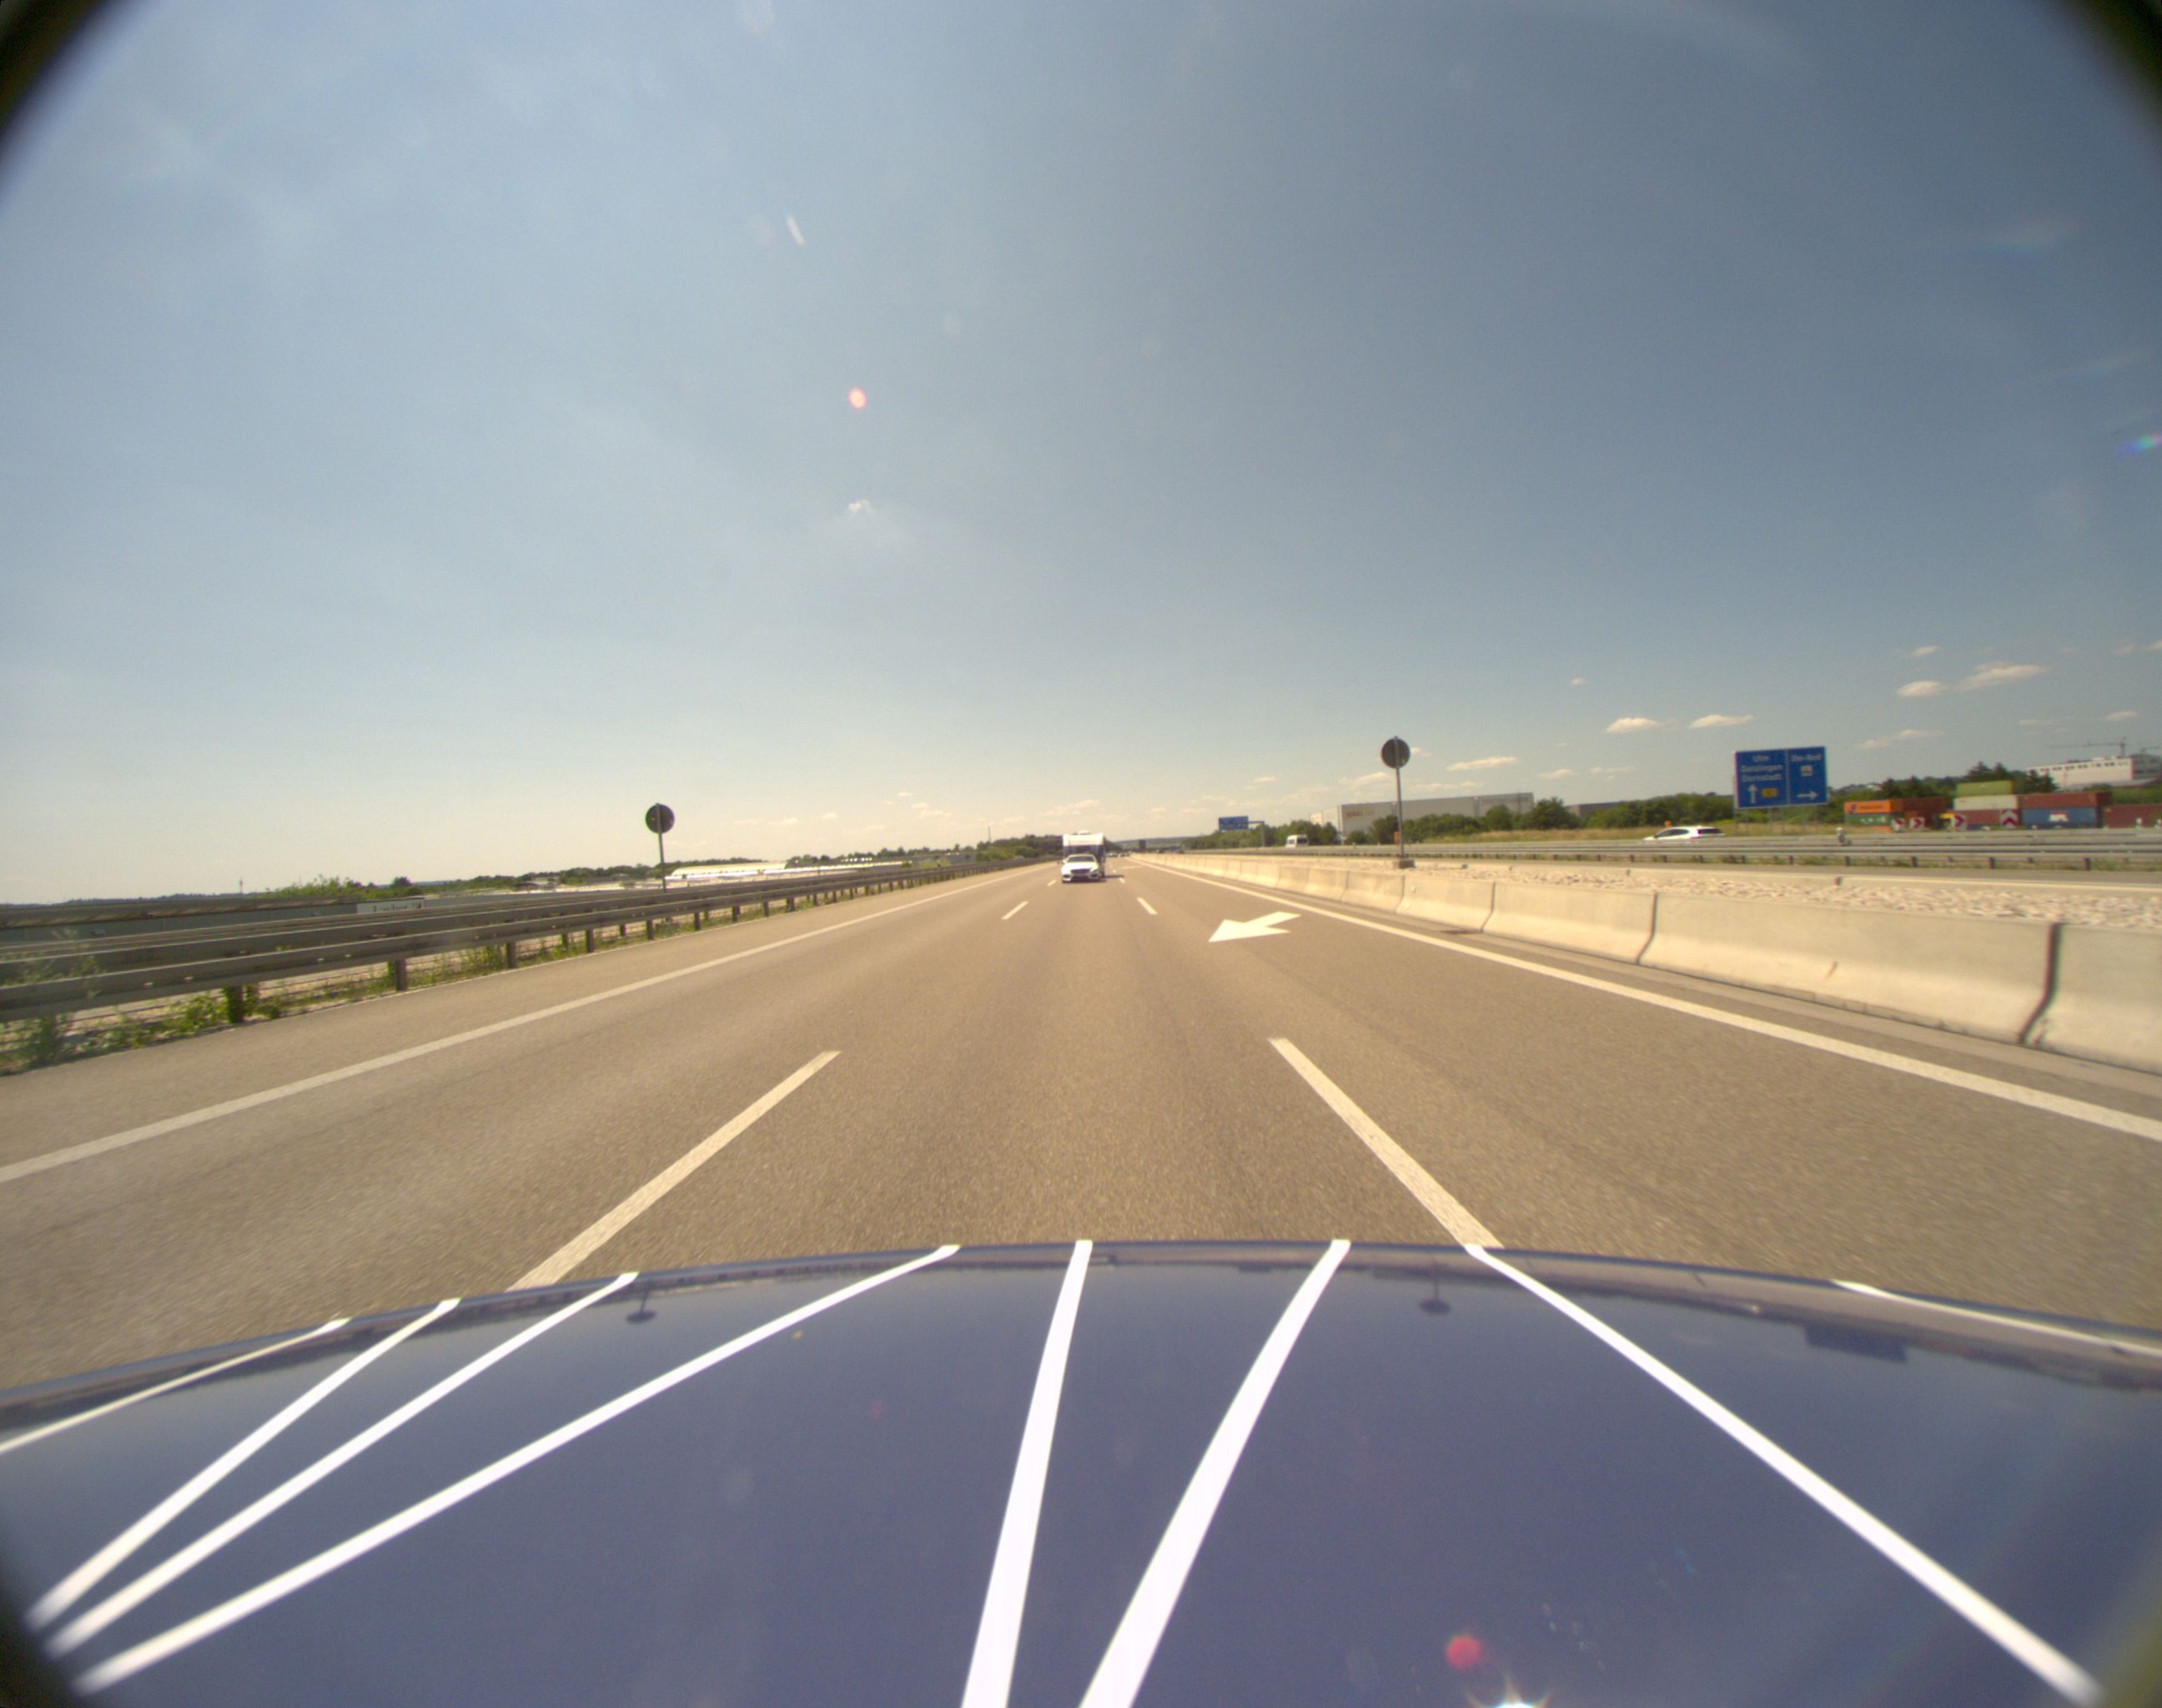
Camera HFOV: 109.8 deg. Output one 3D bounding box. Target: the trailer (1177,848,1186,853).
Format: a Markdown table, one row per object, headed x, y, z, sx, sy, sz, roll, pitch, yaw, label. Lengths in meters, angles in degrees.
| x | y | z | sx | sy | sz | roll | pitch | yaw | label |
| --- | --- | --- | --- | --- | --- | --- | --- | --- | --- |
| 26.217 | -0.909 | 198.350 | 1.760 | 1.427 | 3.683 | -1 | 1 | 2 | trailer |

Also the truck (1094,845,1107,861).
| x | y | z | sx | sy | sz | roll | pitch | yaw | label |
| --- | --- | --- | --- | --- | --- | --- | --- | --- | --- |
| 3.617 | -0.177 | 140.570 | 2.168 | 2.797 | 6.490 | -3 | 0 | 0 | truck |

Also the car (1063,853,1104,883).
| x | y | z | sx | sy | sz | roll | pitch | yaw | label |
| --- | --- | --- | --- | --- | --- | --- | --- | --- | --- |
| 0.165 | 0.667 | 37.598 | 1.872 | 1.352 | 3.672 | -1 | 1 | 2 | car |

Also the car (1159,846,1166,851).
| x | y | z | sx | sy | sz | roll | pitch | yaw | label |
| --- | --- | --- | --- | --- | --- | --- | --- | --- | --- |
| 24.858 | -1.719 | 232.168 | 2.036 | 1.464 | 4.371 | -2 | 1 | 3 | car |

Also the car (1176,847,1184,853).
| x | y | z | sx | sy | sz | roll | pitch | yaw | label |
| --- | --- | --- | --- | --- | --- | --- | --- | --- | --- |
| 26.354 | -0.998 | 202.184 | 1.796 | 1.541 | 4.000 | -2 | 0 | 2 | car |

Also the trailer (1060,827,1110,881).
| x | y | z | sx | sy | sz | roll | pitch | yaw | label |
| --- | --- | --- | --- | --- | --- | --- | --- | --- | --- |
| 0.352 | -0.031 | 43.050 | 2.500 | 2.686 | 7.154 | -2 | 1 | 2 | trailer |

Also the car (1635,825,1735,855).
| x | y | z | sx | sy | sz | roll | pitch | yaw | label |
| --- | --- | --- | --- | --- | --- | --- | --- | --- | --- |
| 30.225 | -0.679 | 38.205 | 1.567 | 1.371 | 4.362 | -2 | 1 | 1 | car |

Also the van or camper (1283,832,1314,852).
| x | y | z | sx | sy | sz | roll | pitch | yaw | label |
| --- | --- | --- | --- | --- | --- | --- | --- | --- | --- |
| 32.783 | -1.829 | 114.974 | 2.552 | 2.805 | 7.541 | -2 | 1 | 1 | van or camper |

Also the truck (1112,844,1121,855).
| x | y | z | sx | sy | sz | roll | pitch | yaw | label |
| --- | --- | --- | --- | --- | --- | --- | --- | --- | --- |
| 9.448 | -1.145 | 202.615 | 2.168 | 2.797 | 6.491 | -2 | 0 | 3 | truck |
